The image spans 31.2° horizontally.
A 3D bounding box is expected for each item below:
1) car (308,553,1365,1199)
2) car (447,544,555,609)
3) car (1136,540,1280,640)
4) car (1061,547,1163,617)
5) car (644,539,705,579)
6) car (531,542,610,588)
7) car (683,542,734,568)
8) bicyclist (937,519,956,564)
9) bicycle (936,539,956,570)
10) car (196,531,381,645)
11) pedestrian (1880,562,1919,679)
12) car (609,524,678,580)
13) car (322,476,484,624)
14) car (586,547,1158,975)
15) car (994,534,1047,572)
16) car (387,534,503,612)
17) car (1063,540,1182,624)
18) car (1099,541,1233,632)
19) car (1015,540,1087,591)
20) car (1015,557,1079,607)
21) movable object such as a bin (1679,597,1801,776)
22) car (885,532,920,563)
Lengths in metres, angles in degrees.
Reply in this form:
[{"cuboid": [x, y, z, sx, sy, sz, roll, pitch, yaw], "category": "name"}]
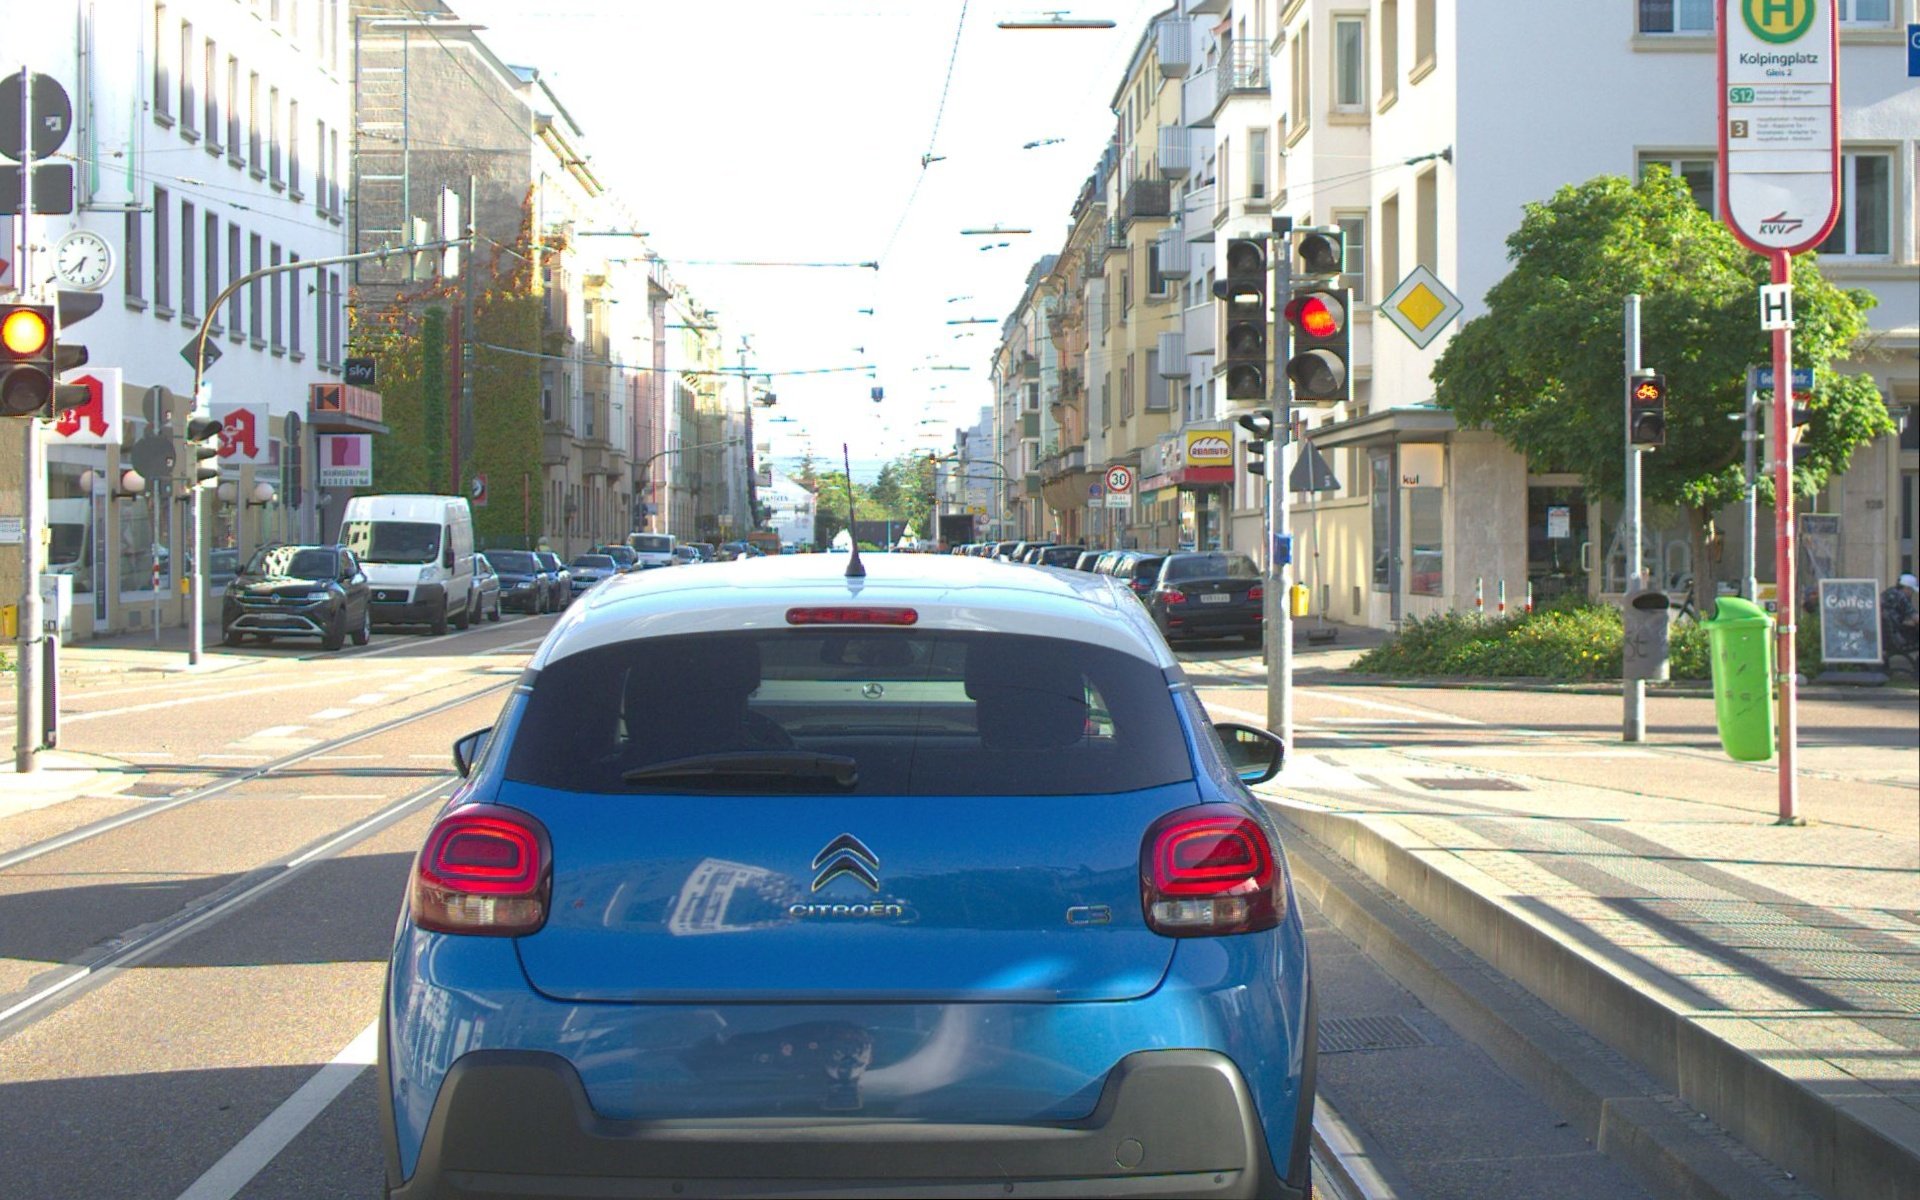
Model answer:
[{"cuboid": [-0.233, 0.657, 7.593, 1.728, 1.477, 3.827, 1, 1, -1], "category": "car"}, {"cuboid": [-10.404, -0.542, 78.099, 1.993, 1.393, 4.157, 1, 0, -2], "category": "car"}, {"cuboid": [3.744, -0.179, 52.396, 1.909, 1.459, 4.000, 0, 1, 0], "category": "car"}, {"cuboid": [3.196, -0.401, 72.965, 1.993, 1.459, 4.000, 0, 1, 0], "category": "car"}, {"cuboid": [-11.320, -1.632, 136.630, 1.955, 1.547, 3.938, 1, 0, 2], "category": "car"}, {"cuboid": [-11.677, -1.041, 103.235, 1.993, 1.320, 3.923, 1, 0, -2], "category": "car"}, {"cuboid": [-11.265, -2.011, 154.014, 1.993, 1.152, 4.000, 0, 1, 0], "category": "car"}, {"cuboid": [-0.621, -2.675, 157.129, 0.809, 2.007, 0.922, 1, 0, 0], "category": "bicyclist"}, {"cuboid": [-0.655, -2.096, 157.274, 0.920, 1.384, 3.132, 0, 1, 0], "category": "bicycle"}, {"cuboid": [-10.176, -0.197, 52.415, 1.993, 1.563, 4.403, 3, 0, -2], "category": "car"}, {"cuboid": [10.884, 0.227, 39.056, 0.741, 1.311, 0.627, 0, 1, 23], "category": "pedestrian"}, {"cuboid": [-11.651, -1.755, 126.799, 2.006, 2.007, 4.689, 1, 0, 1], "category": "car"}, {"cuboid": [-10.082, -0.915, 62.642, 2.085, 2.533, 6.206, 1, 1, -2], "category": "car"}, {"cuboid": [-0.343, 0.529, 14.468, 1.984, 1.459, 4.816, 1, 1, -1], "category": "car"}, {"cuboid": [2.329, -1.833, 133.258, 1.993, 1.459, 4.000, 0, 1, 0], "category": "car"}, {"cuboid": [-10.376, -0.545, 69.467, 1.888, 1.491, 3.562, 1, 0, -2], "category": "car"}, {"cuboid": [2.932, -0.349, 62.930, 1.993, 1.496, 4.000, 0, 1, 0], "category": "car"}, {"cuboid": [3.385, -0.252, 57.164, 1.993, 1.459, 4.000, 0, 1, 0], "category": "car"}, {"cuboid": [2.678, -1.036, 102.041, 1.993, 1.459, 4.504, 0, 1, 0], "category": "car"}, {"cuboid": [2.739, -0.572, 109.075, 1.993, 1.546, 4.000, 0, 1, 1], "category": "car"}, {"cuboid": [3.504, 0.382, 15.463, 0.449, 0.783, 0.489, 0, 1, 2], "category": "movable object such as a bin"}, {"cuboid": [-3.308, -3.021, 197.089, 1.993, 1.766, 4.000, 0, 1, -1], "category": "car"}]
